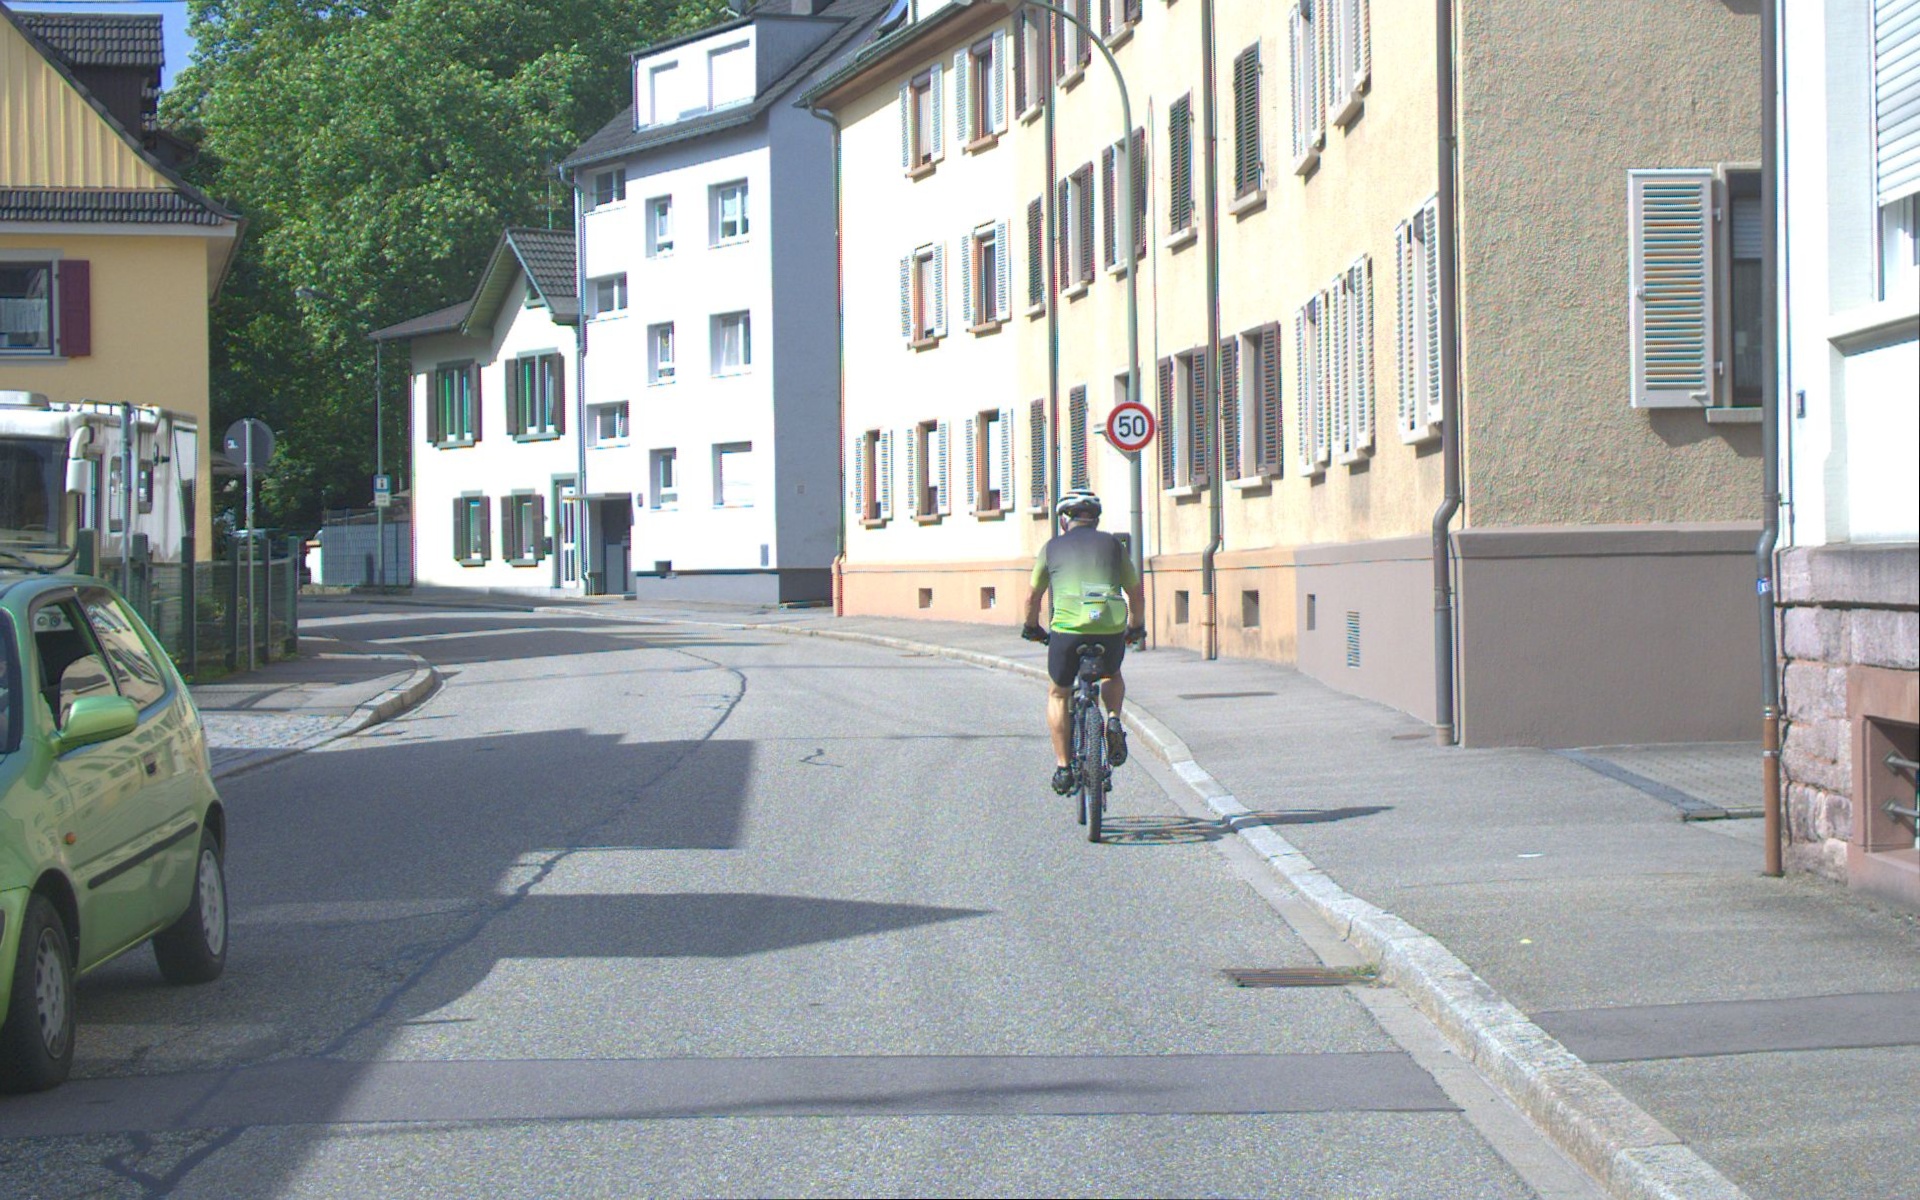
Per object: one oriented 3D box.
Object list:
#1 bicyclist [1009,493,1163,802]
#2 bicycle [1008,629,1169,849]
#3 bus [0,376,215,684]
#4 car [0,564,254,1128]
[{"bbox_3d":[0.634,0.234,17.508,0.685,1.526,0.716,-1,1,-3],"label":"bicyclist"},{"bbox_3d":[0.642,0.689,17.573,0.698,1.032,1.471,0,1,-3],"label":"bicycle"},{"bbox_3d":[-10.852,-0.820,40.434,2.820,3.217,9.037,1,1,-4],"label":"bus"},{"bbox_3d":[-3.379,0.679,10.624,1.596,1.459,3.660,-4,1,-1],"label":"car"}]
